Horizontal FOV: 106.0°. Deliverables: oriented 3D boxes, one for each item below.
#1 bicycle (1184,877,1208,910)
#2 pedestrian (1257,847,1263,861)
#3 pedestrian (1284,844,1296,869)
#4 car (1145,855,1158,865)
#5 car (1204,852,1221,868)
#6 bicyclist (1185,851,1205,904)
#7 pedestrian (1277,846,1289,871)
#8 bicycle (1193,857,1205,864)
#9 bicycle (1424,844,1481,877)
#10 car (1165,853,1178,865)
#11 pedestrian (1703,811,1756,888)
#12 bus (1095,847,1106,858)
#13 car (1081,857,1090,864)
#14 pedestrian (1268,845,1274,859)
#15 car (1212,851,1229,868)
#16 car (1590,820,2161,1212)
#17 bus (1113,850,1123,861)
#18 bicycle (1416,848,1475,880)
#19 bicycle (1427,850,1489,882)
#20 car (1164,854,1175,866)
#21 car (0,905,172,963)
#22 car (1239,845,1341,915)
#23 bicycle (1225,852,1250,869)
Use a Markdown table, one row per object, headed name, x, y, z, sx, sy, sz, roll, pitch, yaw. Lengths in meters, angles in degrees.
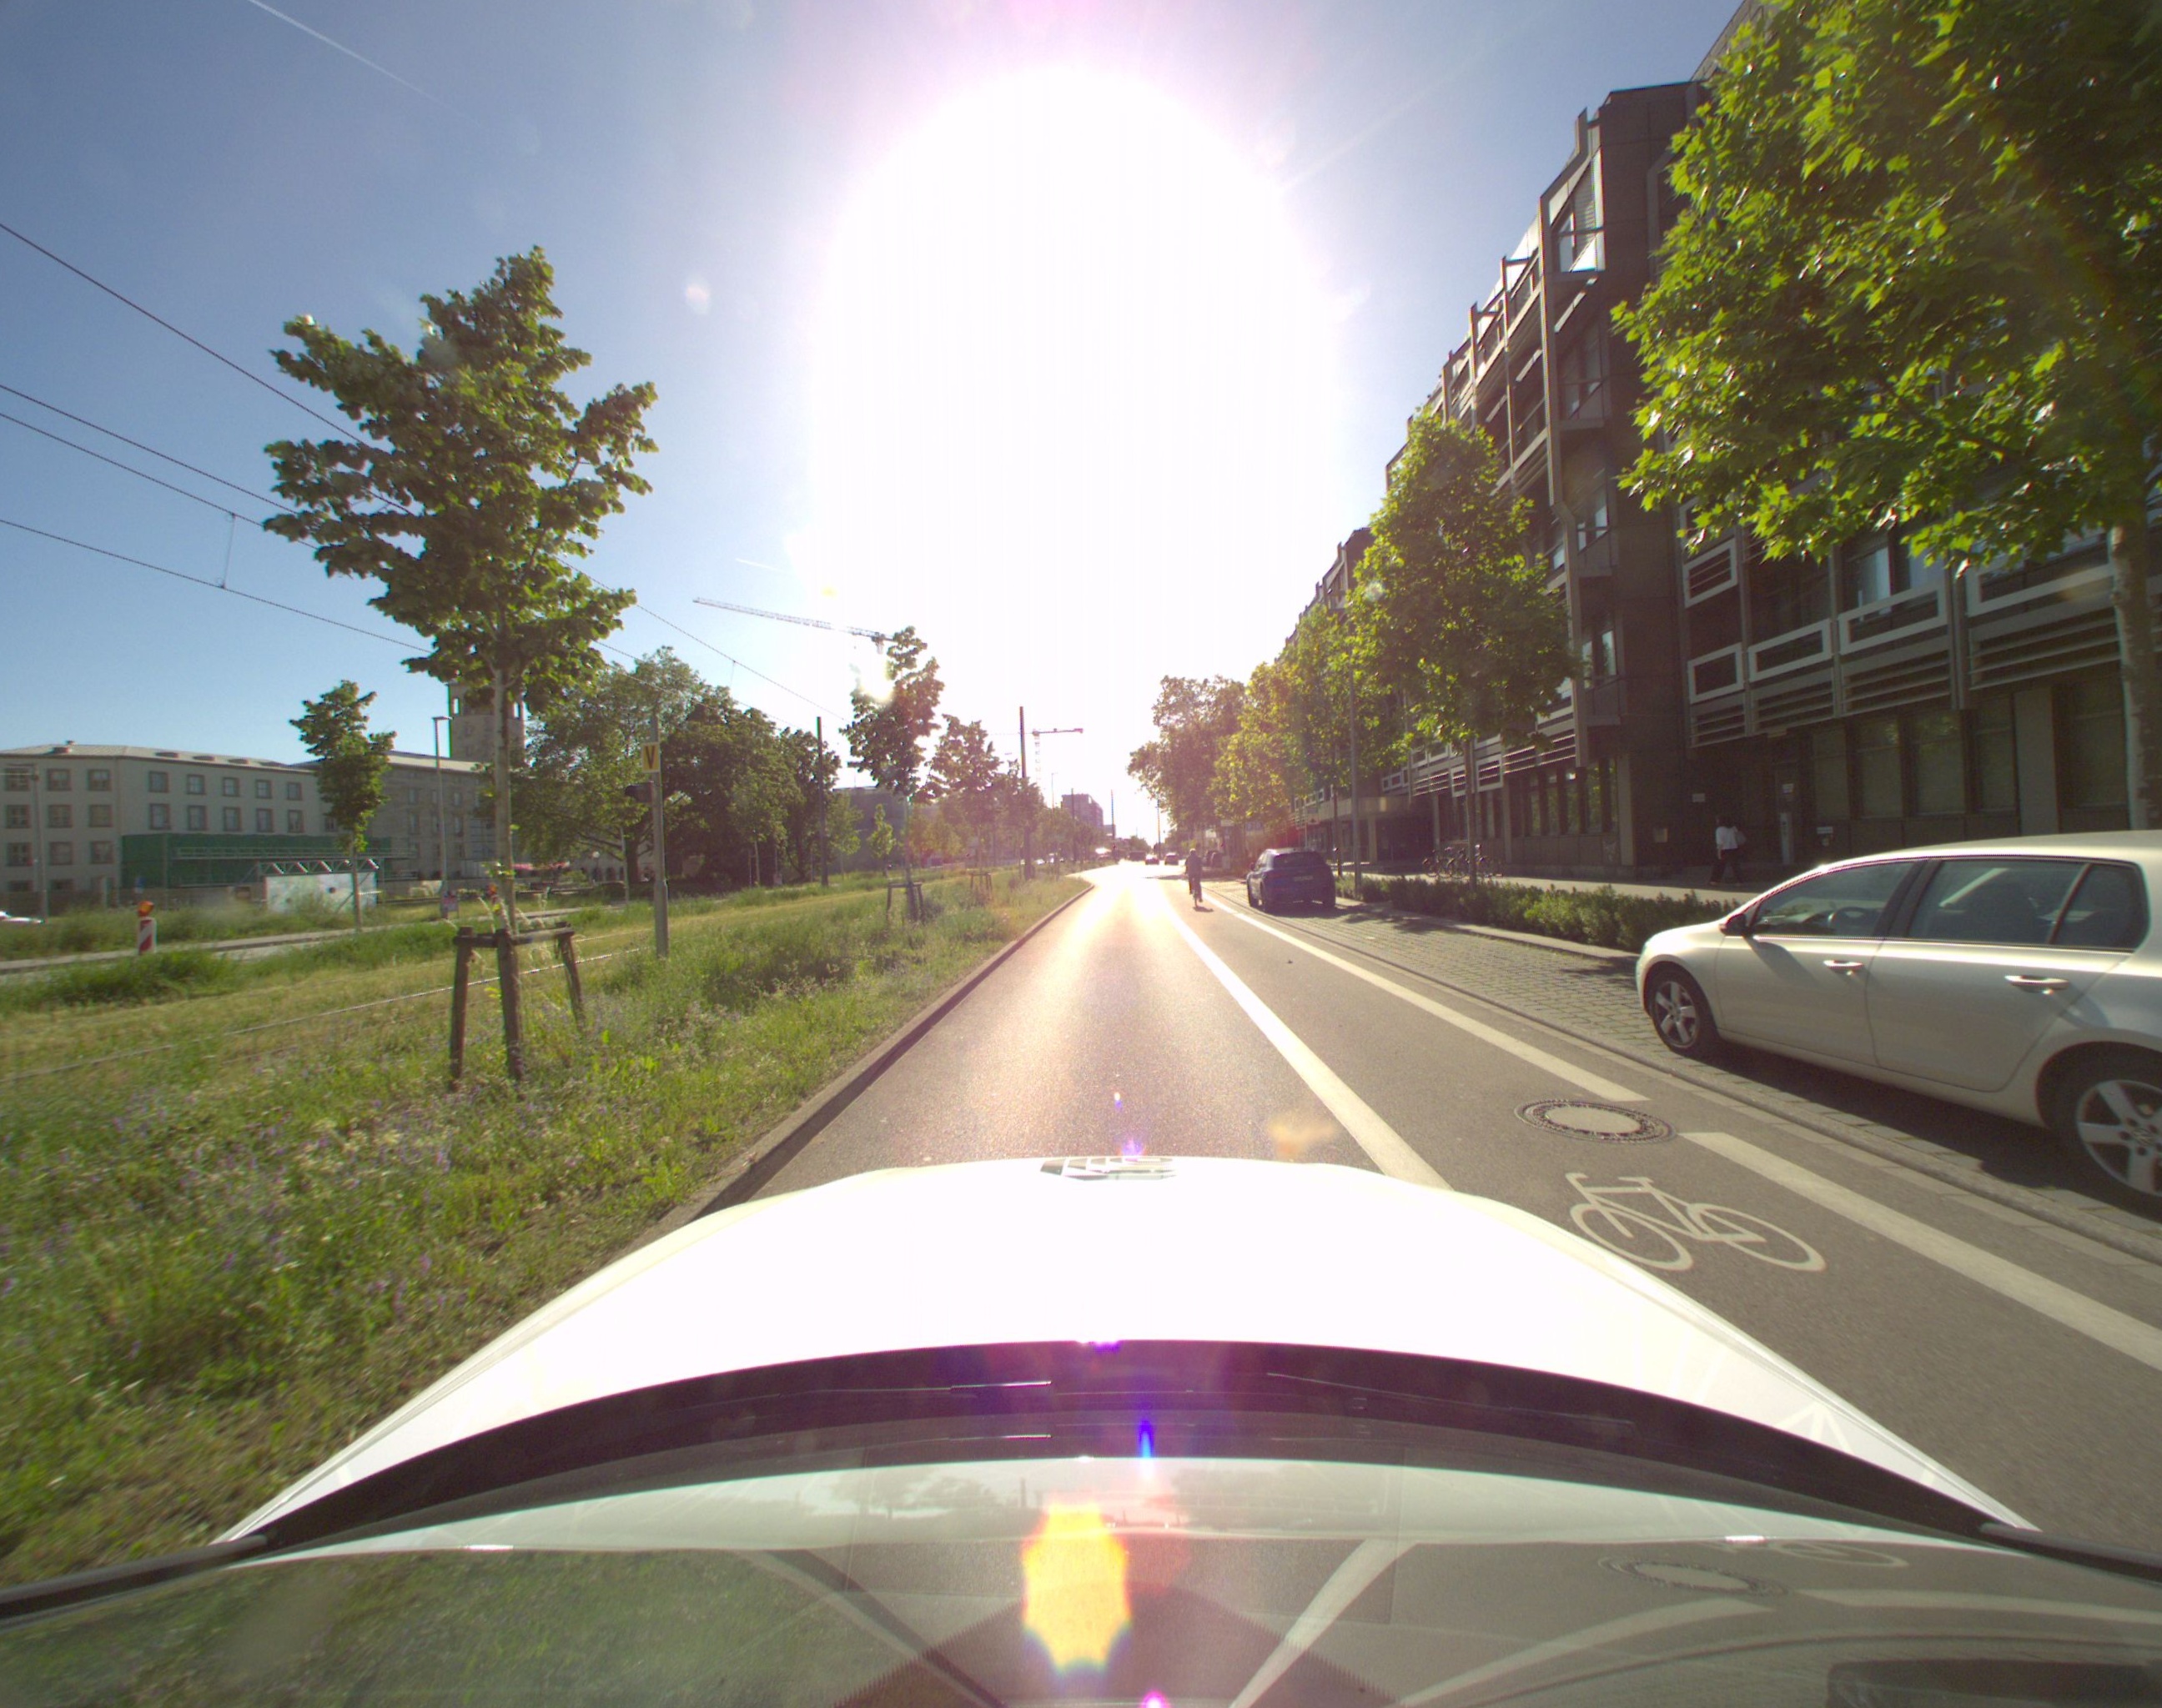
| name | x | y | z | sx | sy | sz | roll | pitch | yaw |
| --- | --- | --- | --- | --- | --- | --- | --- | --- | --- |
| bicycle | 3.559 | 1.209 | 25.416 | 0.496 | 0.906 | 2.197 | -1 | 0 | 2 |
| pedestrian | 20.898 | -0.014 | 95.065 | 0.504 | 1.584 | 0.634 | -2 | 0 | -2 |
| pedestrian | 12.665 | 0.171 | 49.381 | 0.508 | 1.474 | 0.737 | -4 | -1 | 5 |
| car | 10.647 | 0.912 | 123.015 | 1.902 | 1.486 | 4.016 | -2 | 0 | 5 |
| car | 15.674 | 0.693 | 97.349 | 1.695 | 1.790 | 4.200 | -4 | 0 | 6 |
| bicyclist | 3.545 | 0.717 | 25.344 | 0.511 | 1.601 | 0.536 | -2 | -1 | 1 |
| pedestrian | 13.778 | 0.302 | 55.613 | 0.644 | 1.728 | 0.804 | -2 | 0 | 5 |
| bicycle | 17.117 | 0.928 | 118.310 | 1.687 | 0.957 | 0.478 | -4 | 0 | 2 |
| bicycle | 14.091 | 0.256 | 30.930 | 1.848 | 1.097 | 0.427 | -5 | -1 | 7 |
| car | 13.203 | 0.701 | 119.144 | 1.712 | 1.618 | 4.196 | -2 | 0 | 8 |
| pedestrian | 14.161 | -0.099 | 17.801 | 0.508 | 1.622 | 0.675 | -5 | -1 | 5 |
| bus | 5.154 | -0.382 | 215.955 | 2.616 | 2.783 | 8.853 | 0 | -1 | 4 |
| car | 0.800 | 1.277 | 155.258 | 1.369 | 1.178 | 3.225 | 0 | -1 | 6 |
| pedestrian | 22.181 | -0.215 | 95.164 | 0.550 | 1.603 | 0.574 | -2 | 0 | 6 |
| car | 14.713 | 0.578 | 86.055 | 1.694 | 1.643 | 4.647 | -2 | 0 | 8 |
| car | 4.994 | 0.609 | 4.617 | 1.612 | 1.465 | 4.156 | -4 | 0 | 1 |
| bus | 10.494 | 0.529 | 232.026 | 2.616 | 2.959 | 9.908 | 0 | -1 | 4 |
| bicycle | 13.351 | 0.353 | 29.835 | 1.848 | 1.011 | 0.427 | -5 | -1 | 7 |
| bicycle | 13.140 | 0.420 | 28.414 | 1.848 | 0.939 | 0.427 | -5 | -1 | 7 |
| car | 14.374 | 0.974 | 132.586 | 1.713 | 1.782 | 4.192 | -2 | 0 | 5 |
| car | -32.109 | 2.503 | 26.062 | 1.552 | 1.536 | 3.860 | 0 | -1 | 2 |
| car | 5.769 | 0.663 | 23.100 | 1.841 | 1.657 | 4.853 | -4 | 0 | 3 |
| bicycle | 12.994 | 0.557 | 67.592 | 1.929 | 1.236 | 0.579 | -5 | -1 | 3 |
